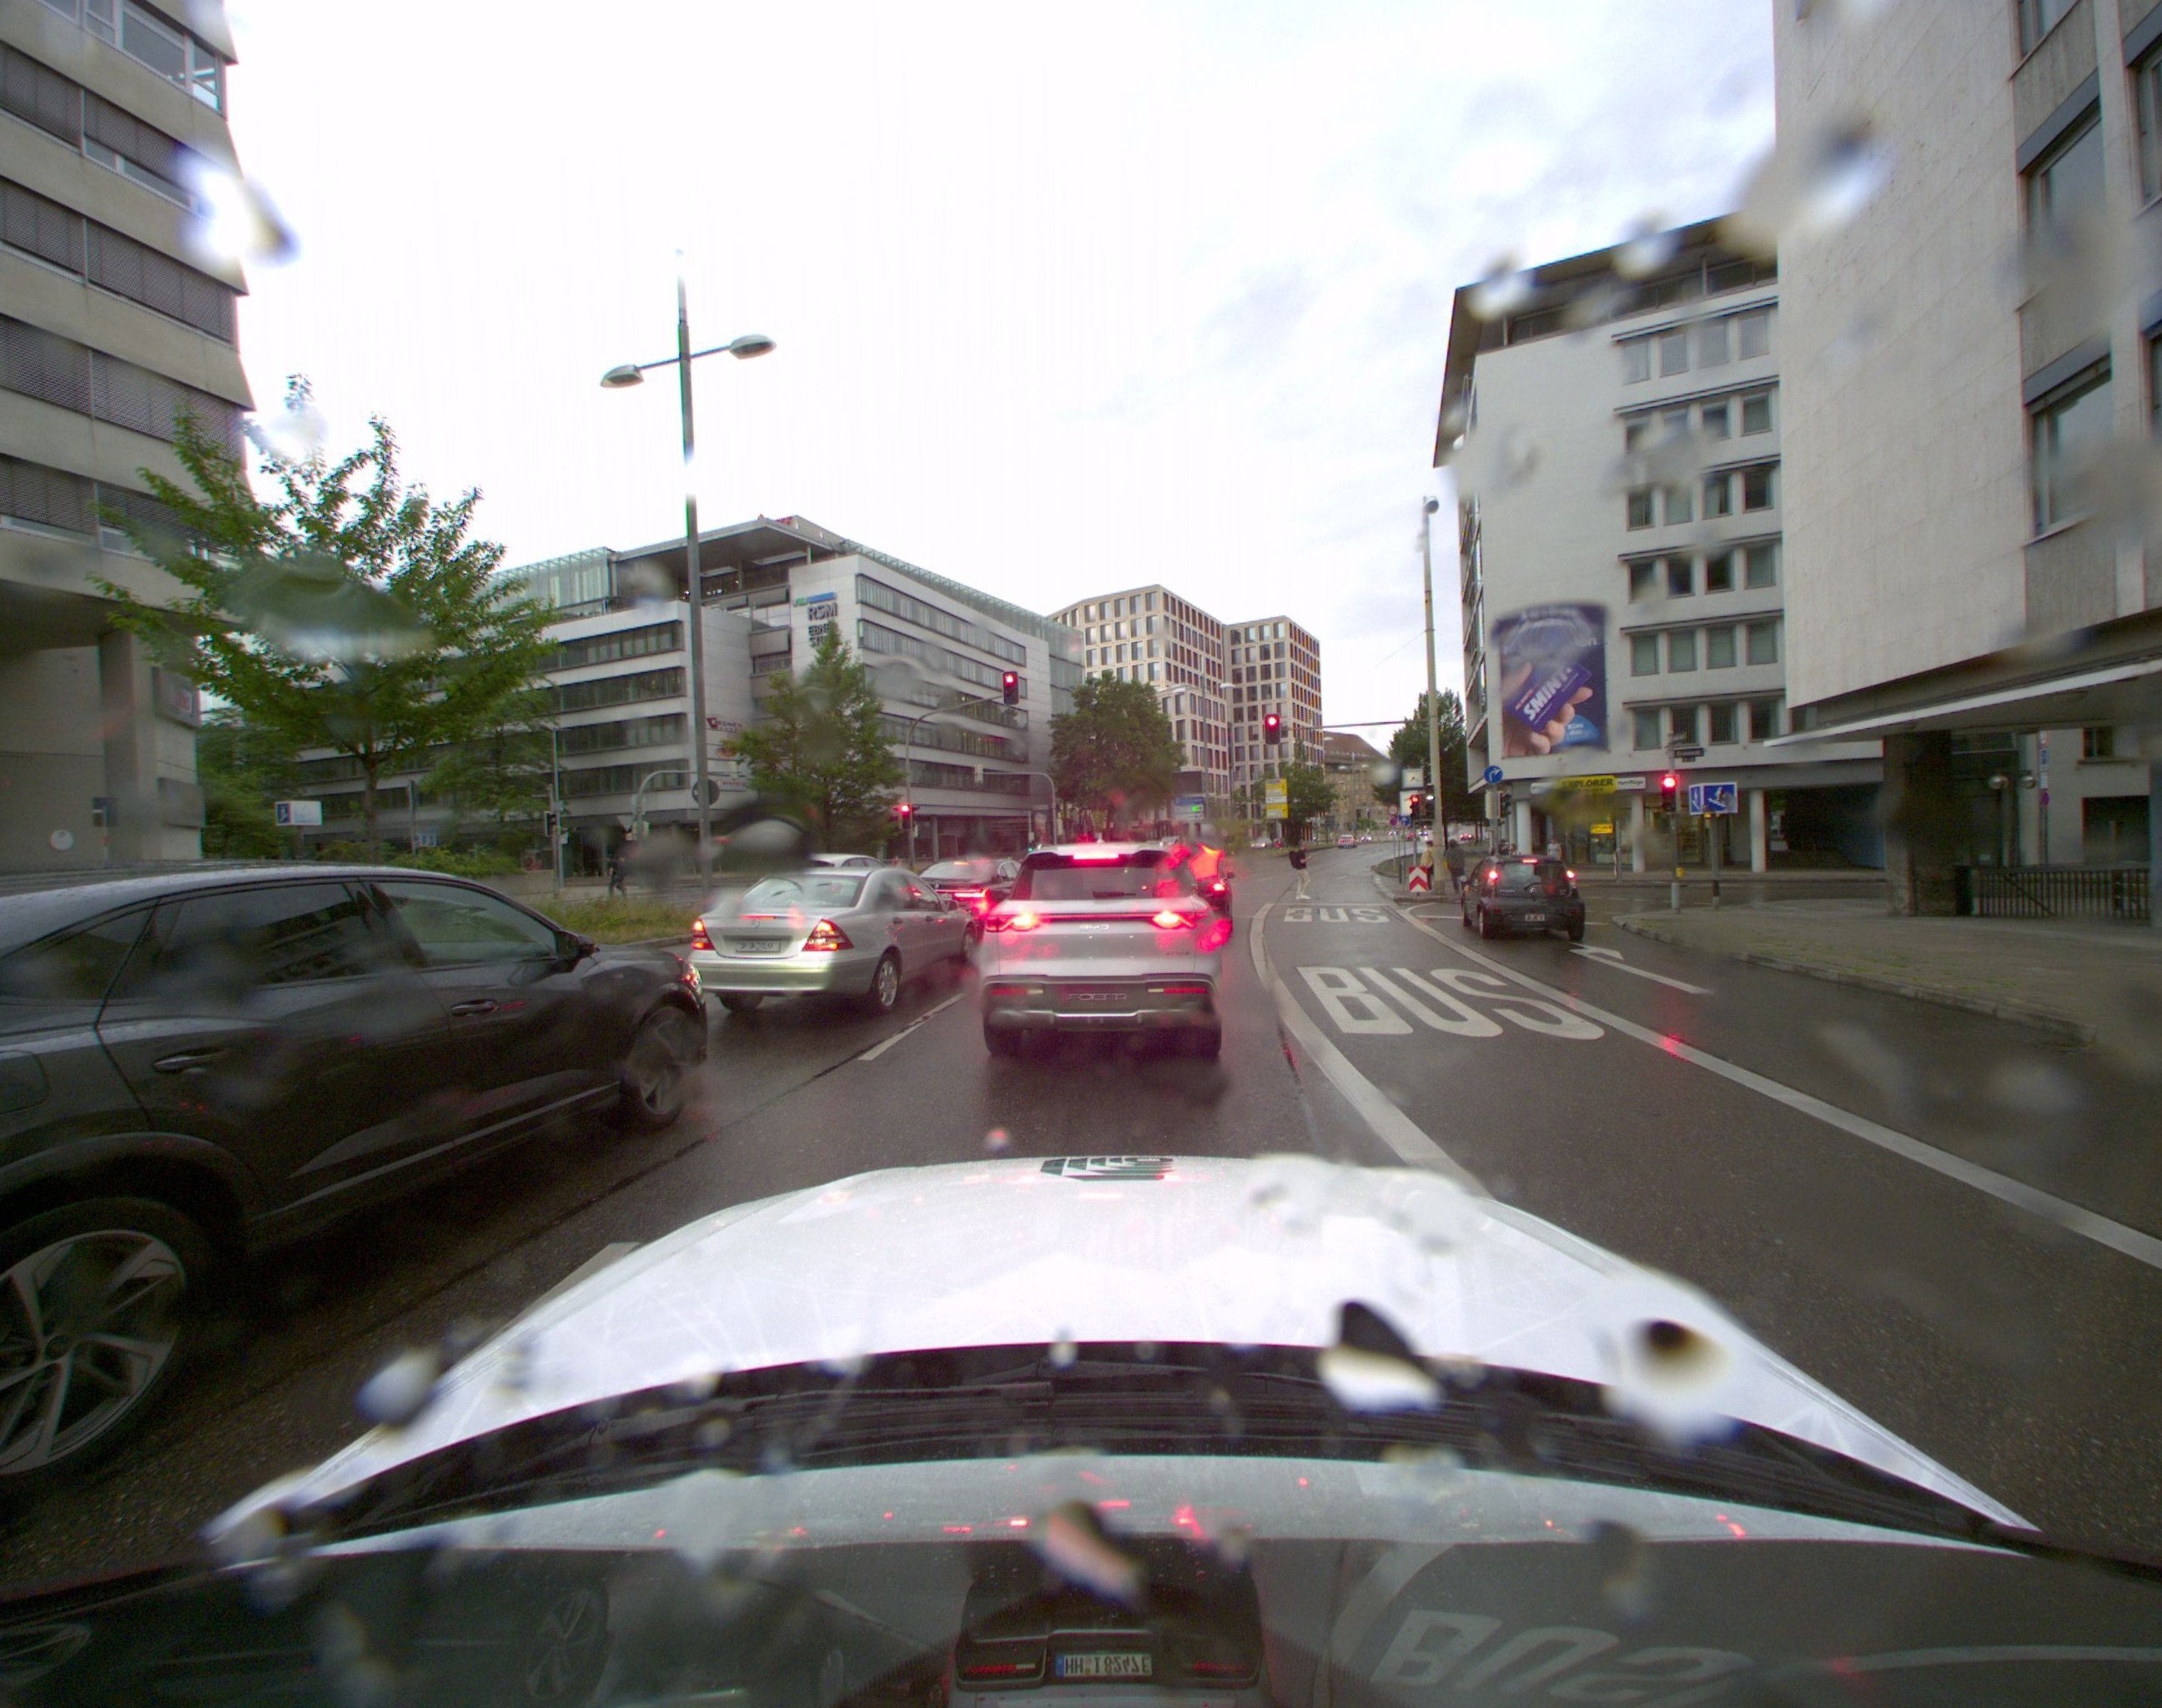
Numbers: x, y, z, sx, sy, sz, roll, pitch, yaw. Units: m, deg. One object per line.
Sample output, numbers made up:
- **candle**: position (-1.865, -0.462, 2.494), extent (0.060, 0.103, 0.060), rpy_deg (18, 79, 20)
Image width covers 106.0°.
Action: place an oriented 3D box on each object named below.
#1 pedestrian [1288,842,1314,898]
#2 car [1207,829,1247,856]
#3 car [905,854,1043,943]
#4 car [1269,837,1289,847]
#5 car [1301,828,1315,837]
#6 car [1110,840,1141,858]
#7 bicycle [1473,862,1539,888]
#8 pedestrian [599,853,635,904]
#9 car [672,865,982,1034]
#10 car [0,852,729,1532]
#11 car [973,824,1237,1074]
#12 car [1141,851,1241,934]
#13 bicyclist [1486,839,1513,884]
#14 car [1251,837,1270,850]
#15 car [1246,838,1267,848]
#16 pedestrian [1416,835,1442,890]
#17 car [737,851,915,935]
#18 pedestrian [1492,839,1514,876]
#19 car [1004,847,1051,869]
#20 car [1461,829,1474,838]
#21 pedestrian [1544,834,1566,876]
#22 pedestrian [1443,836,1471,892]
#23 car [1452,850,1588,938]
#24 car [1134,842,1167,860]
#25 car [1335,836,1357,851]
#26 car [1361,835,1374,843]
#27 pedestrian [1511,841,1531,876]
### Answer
- **pedestrian**: position (6.876, 0.489, 25.441), extent (0.764, 1.731, 0.599), rpy_deg (-1, 0, 16)
- **car**: position (11.724, -0.871, 65.007), extent (1.975, 2.014, 4.876), rpy_deg (-1, -1, 25)
- **car**: position (-1.914, 0.772, 15.786), extent (1.561, 1.486, 4.010), rpy_deg (-1, -1, 9)
- **car**: position (29.876, -1.797, 122.787), extent (1.974, 1.488, 4.025), rpy_deg (-1, 1, 29)
- **car**: position (45.395, -4.299, 162.786), extent (1.590, 1.741, 3.467), rpy_deg (-1, -1, 34)
- **car**: position (3.889, -0.416, 70.931), extent (1.630, 1.536, 4.172), rpy_deg (-1, 0, 18)
- **bicycle**: position (14.913, 0.728, 28.634), extent (2.008, 0.888, 0.405), rpy_deg (-1, 0, 19)
- **pedestrian**: position (-15.599, 0.805, 27.395), extent (0.672, 1.683, 0.766), rpy_deg (-1, 0, 15)
- **car**: position (-2.458, 0.841, 9.039), extent (1.561, 1.407, 4.120), rpy_deg (-1, -1, 10)
- **car**: position (-3.207, 0.766, 3.183), extent (1.642, 1.521, 4.274), rpy_deg (-1, 0, 2)
- **car**: position (0.293, 0.662, 7.511), extent (1.768, 1.679, 4.004), rpy_deg (-1, -1, 4)
- **car**: position (2.370, 0.712, 16.693), extent (1.682, 1.486, 4.013), rpy_deg (-1, -1, 12)
- **bicyclist**: position (14.746, 0.256, 28.718), extent (0.761, 1.569, 0.535), rpy_deg (-1, 0, 20)
- **car**: position (23.223, -1.364, 105.249), extent (1.629, 1.581, 4.108), rpy_deg (-1, 0, 23)
- **car**: position (26.380, -1.658, 122.566), extent (1.974, 1.488, 4.025), rpy_deg (-1, 1, 29)
- **pedestrian**: position (11.588, 0.286, 27.105), extent (0.742, 1.798, 0.821), rpy_deg (-1, 1, 22)
- **car**: position (-4.968, 0.708, 16.510), extent (1.696, 1.486, 4.013), rpy_deg (-1, -1, 11)
- **pedestrian**: position (18.987, 0.145, 36.642), extent (0.657, 1.655, 0.662), rpy_deg (-1, 0, -45)
- **car**: position (-4.054, 0.267, 62.023), extent (1.976, 1.610, 4.022), rpy_deg (-1, 0, 22)
- **car**: position (70.693, -3.700, 148.957), extent (1.677, 1.486, 4.025), rpy_deg (-1, -1, 32)
- **pedestrian**: position (20.584, 0.053, 35.365), extent (0.778, 1.794, 0.662), rpy_deg (-1, 0, -45)
- **pedestrian**: position (12.300, 0.310, 26.640), extent (0.742, 1.798, 0.821), rpy_deg (-1, 1, 22)
- **car**: position (8.159, 0.670, 15.464), extent (1.558, 1.429, 4.018), rpy_deg (-1, -1, 18)
- **car**: position (5.762, -0.242, 67.454), extent (1.675, 1.385, 3.888), rpy_deg (-1, -1, 21)
- **car**: position (30.081, -1.222, 92.301), extent (1.871, 1.643, 4.023), rpy_deg (-1, 0, 24)
- **car**: position (59.809, -3.147, 170.045), extent (1.974, 1.488, 4.025), rpy_deg (-1, 1, 29)
- **pedestrian**: position (19.487, 0.202, 36.066), extent (0.657, 1.543, 0.618), rpy_deg (-1, 0, -45)
